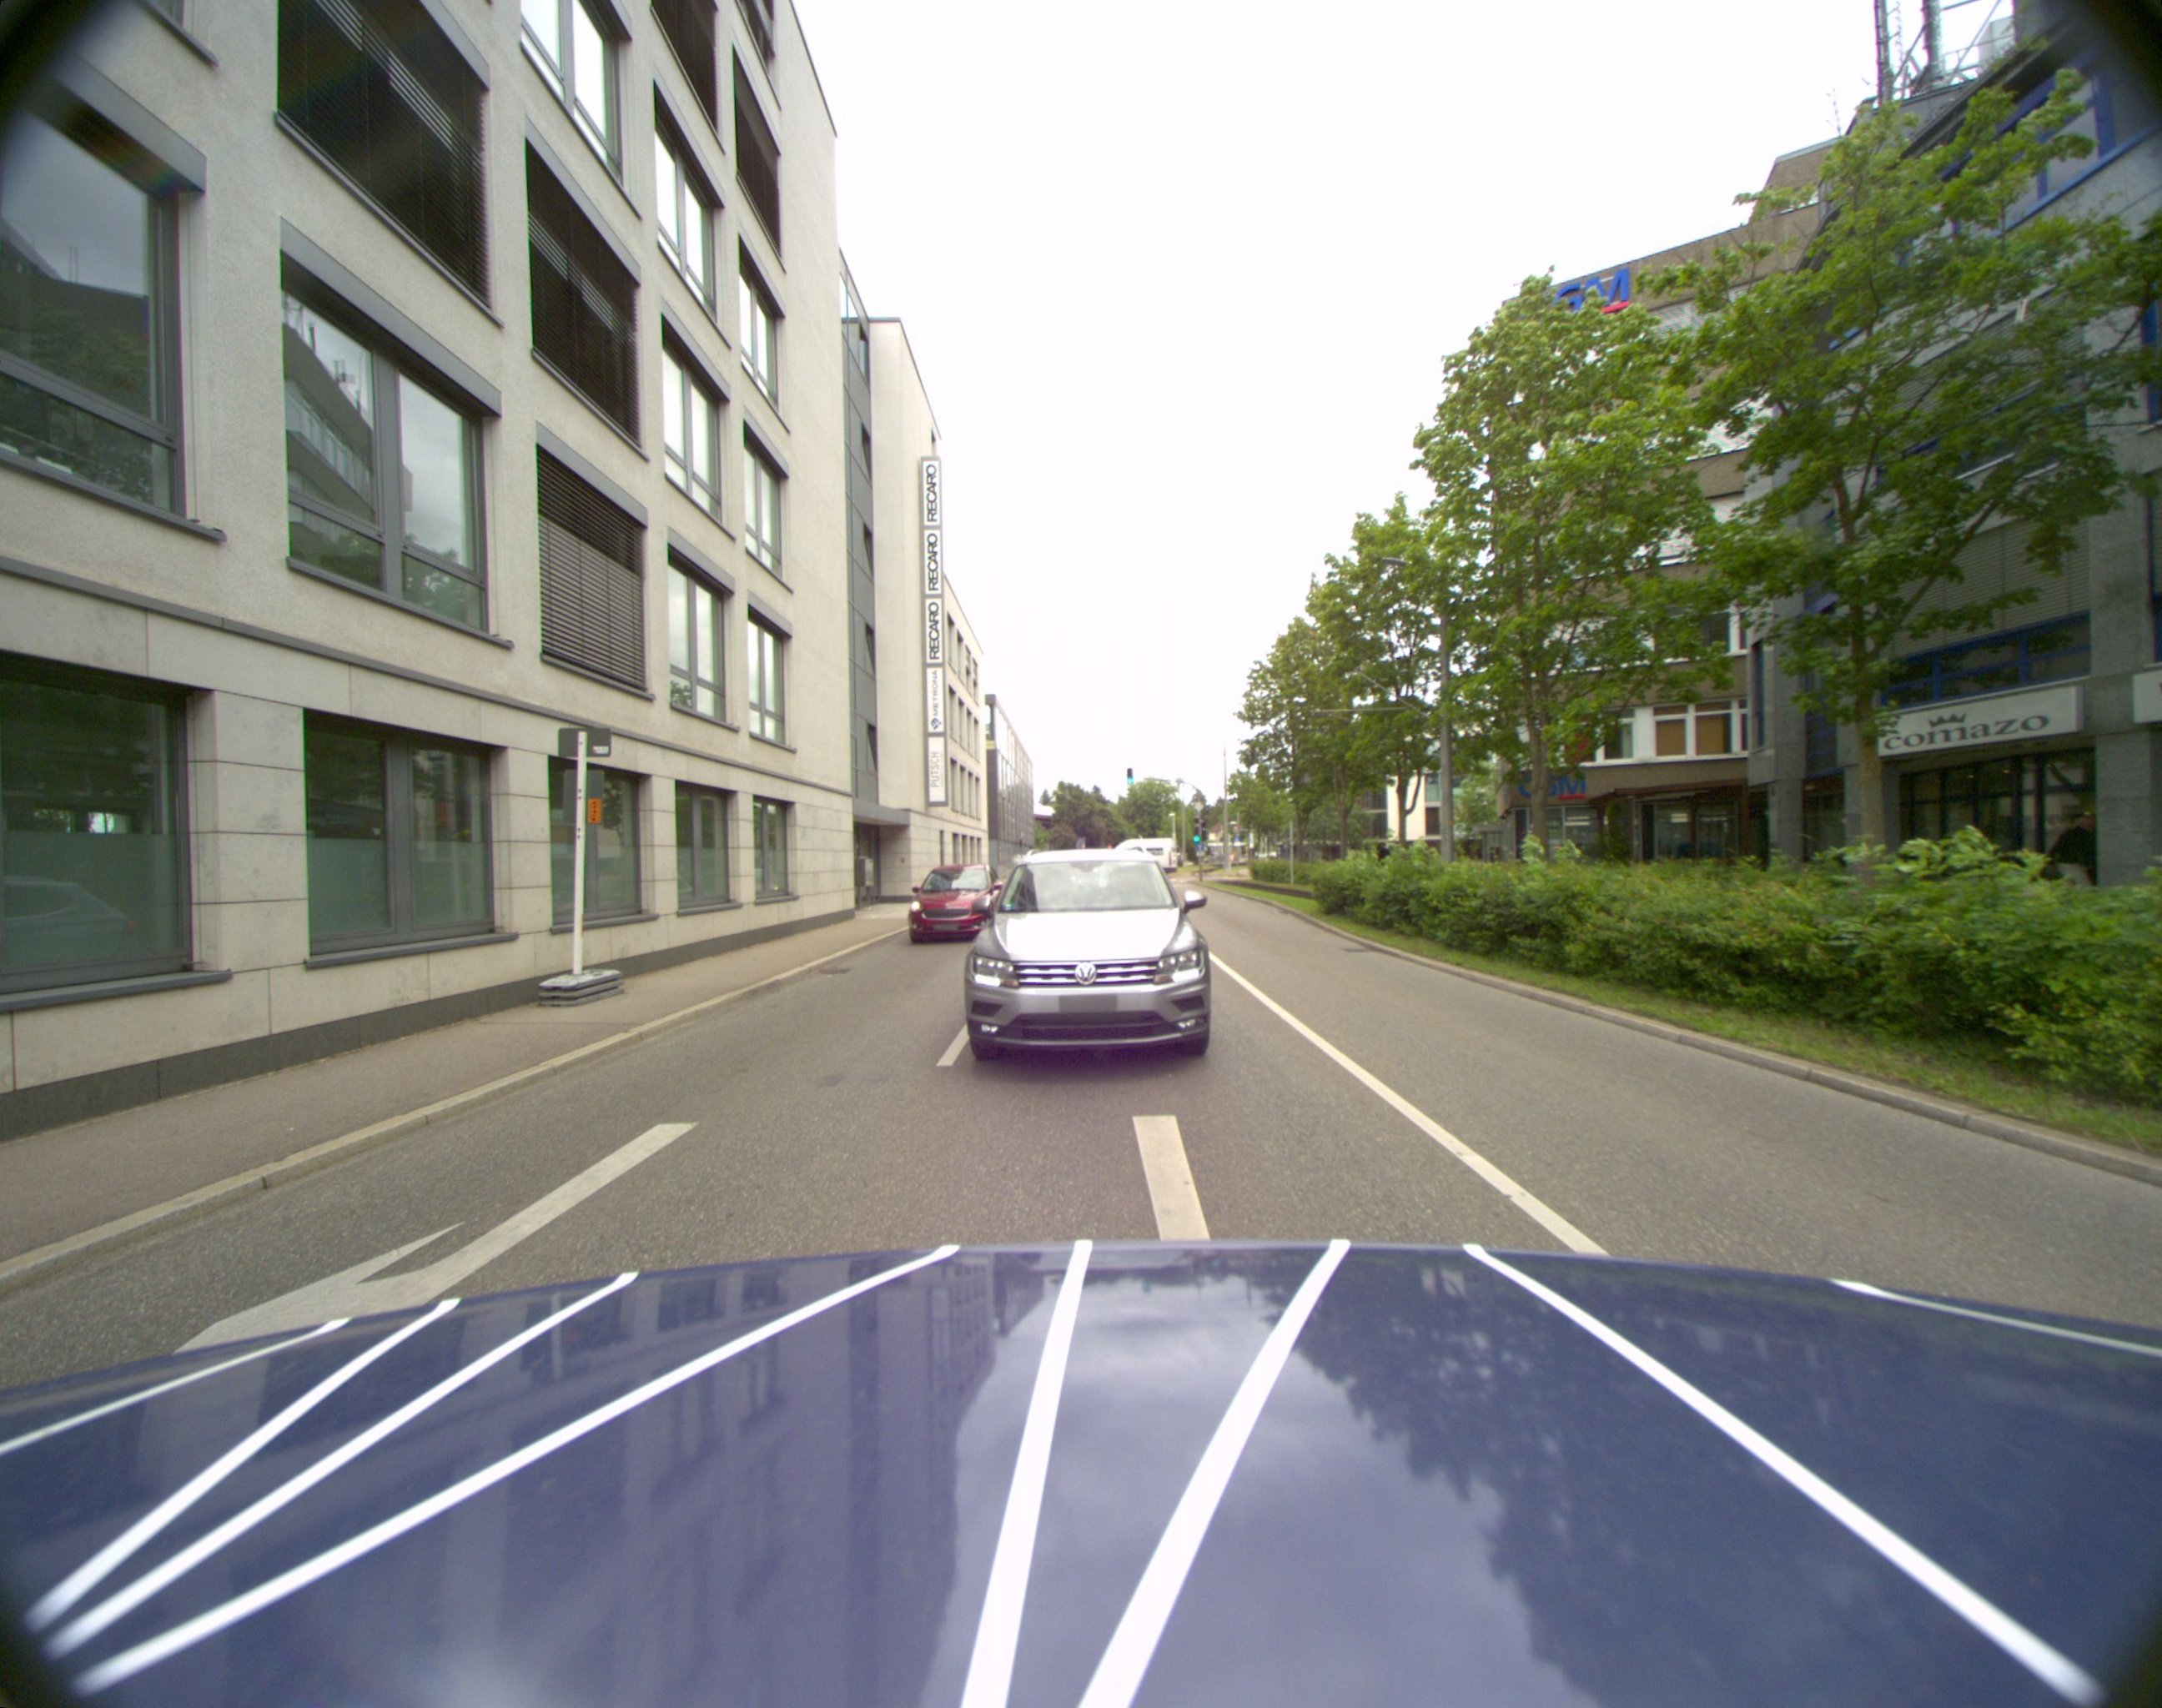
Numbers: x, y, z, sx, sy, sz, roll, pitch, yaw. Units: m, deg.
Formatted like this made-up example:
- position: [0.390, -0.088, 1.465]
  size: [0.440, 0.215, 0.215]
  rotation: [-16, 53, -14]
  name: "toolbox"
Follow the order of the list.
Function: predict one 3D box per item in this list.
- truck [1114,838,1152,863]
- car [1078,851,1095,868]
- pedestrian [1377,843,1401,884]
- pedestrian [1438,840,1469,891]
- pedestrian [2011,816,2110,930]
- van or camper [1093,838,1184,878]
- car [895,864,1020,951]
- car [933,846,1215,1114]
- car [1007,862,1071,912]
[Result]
- position: [8.131, -0.607, 116.878]
  size: [2.317, 3.626, 8.024]
  rotation: [-1, 1, 31]
  name: "truck"
- position: [0.716, 0.685, 96.135]
  size: [1.998, 2.002, 4.000]
  rotation: [-2, 1, 1]
  name: "car"
- position: [14.839, 0.446, 36.601]
  size: [0.816, 1.912, 0.731]
  rotation: [-2, 1, 0]
  name: "pedestrian"
- position: [13.460, 0.415, 27.453]
  size: [0.680, 1.795, 0.731]
  rotation: [-2, 1, -4]
  name: "pedestrian"
- position: [16.836, 0.314, 13.075]
  size: [0.776, 1.883, 0.731]
  rotation: [-2, 1, -1]
  name: "pedestrian"
- position: [4.157, 0.271, 55.116]
  size: [6.137, 2.718, 2.117]
  rotation: [-2, 1, 23]
  name: "van or camper"
- position: [-2.473, 1.040, 16.271]
  size: [1.890, 1.483, 4.000]
  rotation: [-4, 0, 1]
  name: "car"
- position: [-0.012, 0.815, 7.172]
  size: [1.798, 1.716, 4.458]
  rotation: [-1, 0, 1]
  name: "car"
- position: [-1.354, 1.052, 26.006]
  size: [1.825, 1.449, 4.408]
  rotation: [-3, 0, 1]
  name: "car"
